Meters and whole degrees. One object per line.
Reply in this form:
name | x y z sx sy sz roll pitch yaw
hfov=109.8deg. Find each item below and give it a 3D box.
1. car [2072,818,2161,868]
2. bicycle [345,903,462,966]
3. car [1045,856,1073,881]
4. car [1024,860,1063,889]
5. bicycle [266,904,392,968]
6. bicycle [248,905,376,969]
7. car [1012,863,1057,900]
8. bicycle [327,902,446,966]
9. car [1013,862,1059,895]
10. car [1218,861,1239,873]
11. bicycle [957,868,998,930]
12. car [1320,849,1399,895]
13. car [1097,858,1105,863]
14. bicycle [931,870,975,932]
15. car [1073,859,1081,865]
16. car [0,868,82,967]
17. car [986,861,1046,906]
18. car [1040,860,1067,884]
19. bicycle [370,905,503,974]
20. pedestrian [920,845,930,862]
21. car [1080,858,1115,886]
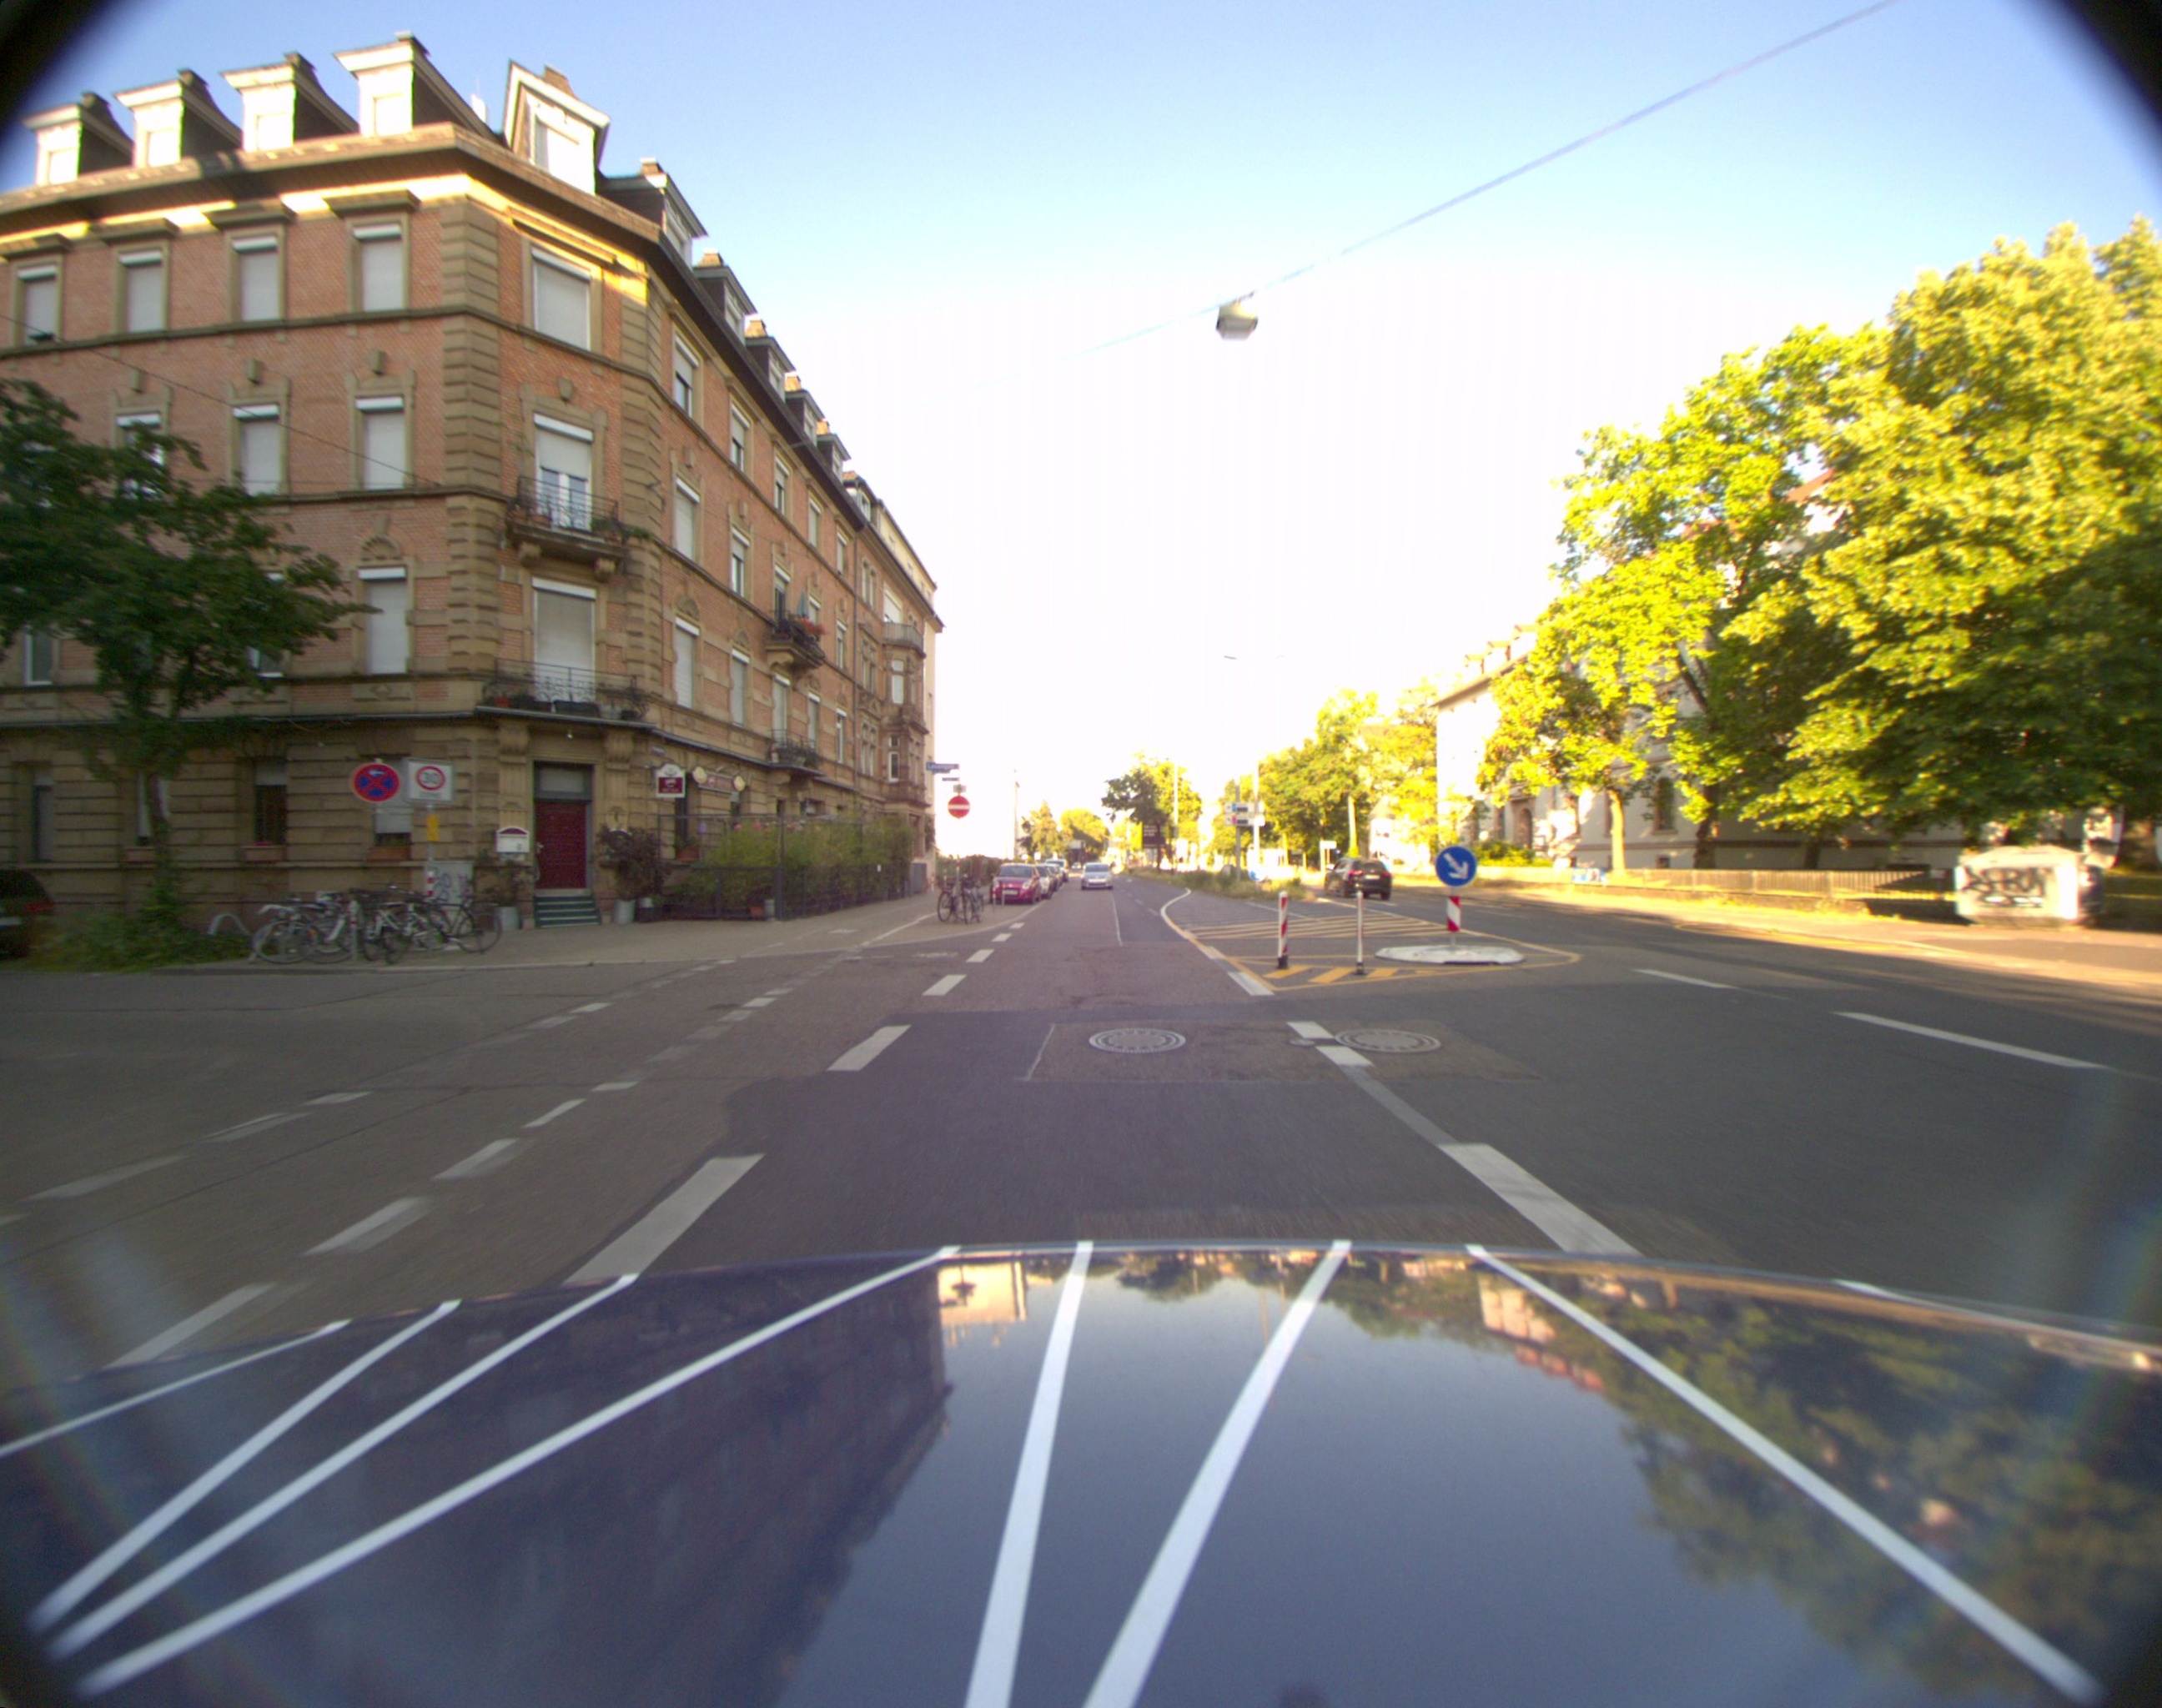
car | 40.299 -0.426 28.766 1.865 1.812 3.259 -3 0 -40
bicycle | -10.883 1.272 12.263 0.295 0.812 1.498 -2 2 10
car | -1.819 1.140 63.684 1.892 1.907 5.180 3 0 3
car | -2.071 1.104 42.894 1.892 1.439 4.463 3 0 0
bicycle | -12.047 1.296 12.238 0.295 0.812 1.498 -2 2 10
bicycle | -12.368 1.318 12.275 0.295 0.812 1.498 -2 2 10
car | -1.986 1.155 33.187 1.681 1.418 3.676 3 0 -1
bicycle | -11.197 1.265 12.311 0.295 0.812 1.498 -2 2 10
car | -2.170 1.154 37.793 1.892 1.418 4.342 3 0 1
car | 18.103 1.561 93.456 1.778 1.266 4.008 3 0 1
bicycle | -2.471 1.044 18.341 0.567 1.292 2.264 3 2 1
car | 11.341 0.671 31.260 1.880 1.696 4.569 2 1 5
car | 5.067 1.645 192.116 1.948 1.258 4.163 0 0 0
bicycle | -3.055 1.085 18.346 0.567 1.268 2.264 3 2 1
car | -1.003 2.065 193.329 1.948 1.514 4.163 0 0 0
car | -19.624 1.073 12.613 3.995 1.597 1.849 -1 0 6
car | -2.370 1.061 28.401 1.730 1.456 3.547 3 0 3
car | -1.853 1.239 52.339 1.705 1.479 3.892 3 0 -1
bicycle | -9.950 1.297 11.813 0.295 0.812 1.735 -2 2 10
pedestrian | -7.946 -0.023 38.622 0.309 0.865 0.320 -2 1 34
car | 0.892 0.980 42.826 1.895 1.454 3.966 0 0 0
